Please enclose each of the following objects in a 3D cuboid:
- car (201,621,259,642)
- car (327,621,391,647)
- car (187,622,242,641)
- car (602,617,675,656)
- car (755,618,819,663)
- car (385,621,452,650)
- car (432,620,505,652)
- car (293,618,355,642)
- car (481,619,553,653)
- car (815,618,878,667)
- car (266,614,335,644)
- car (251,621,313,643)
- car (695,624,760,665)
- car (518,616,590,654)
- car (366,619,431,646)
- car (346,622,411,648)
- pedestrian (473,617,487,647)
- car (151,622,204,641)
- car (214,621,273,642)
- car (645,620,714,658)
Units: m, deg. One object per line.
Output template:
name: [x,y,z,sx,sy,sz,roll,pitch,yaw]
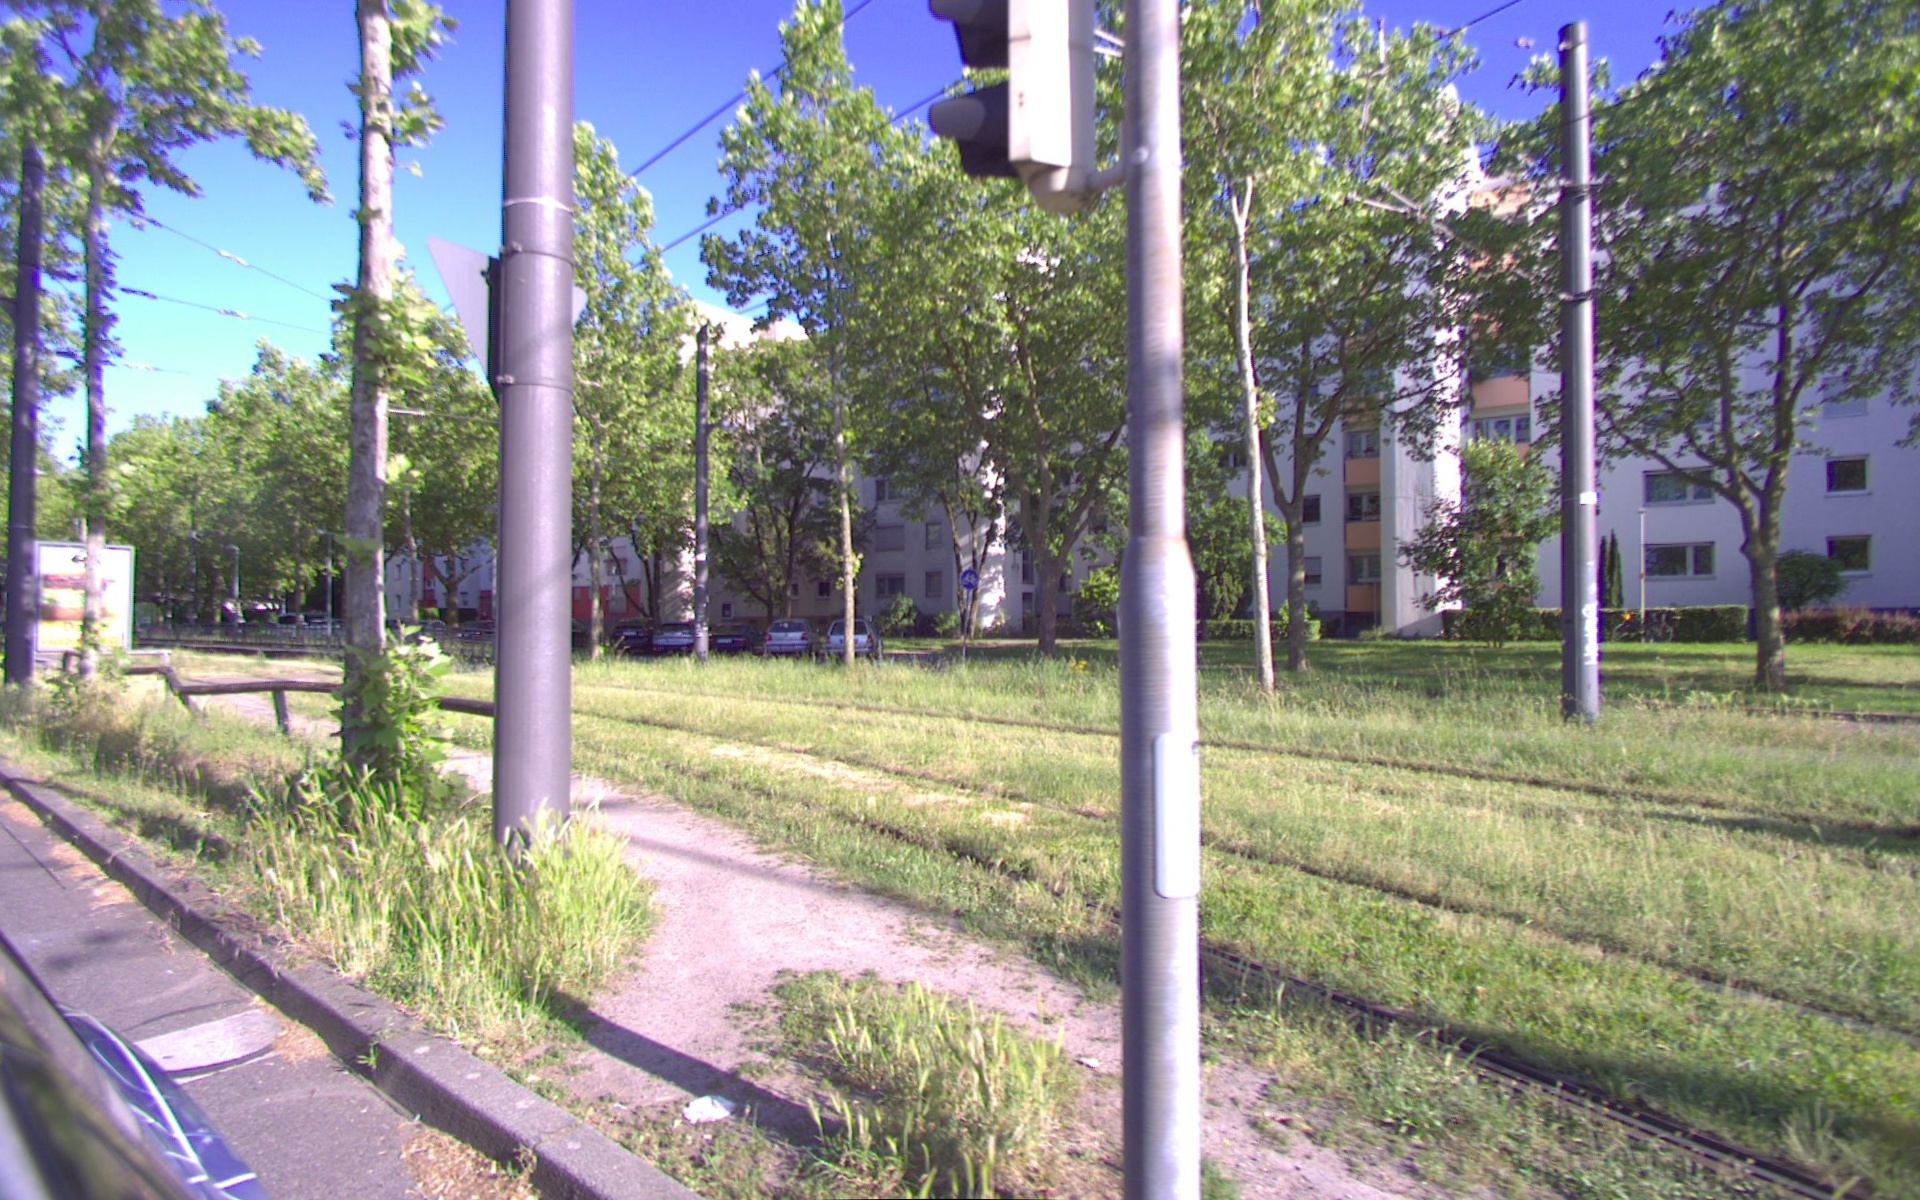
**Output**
car: [-56.979,2.439,79.101,1.769,1.510,4.052,-1,-1,-3]
car: [-37.571,2.110,63.348,1.769,1.510,4.052,-1,-1,-3]
car: [-61.701,2.566,83.858,1.769,1.510,4.052,-1,-1,-3]
car: [-13.457,1.504,42.602,1.770,1.510,4.049,-1,-1,0]
car: [-6.206,1.426,36.743,1.739,1.498,4.051,-1,-1,-2]
car: [-30.293,1.988,56.785,1.769,1.510,4.052,-1,-1,-3]
car: [-25.003,1.784,51.669,1.770,1.510,4.049,-1,-1,0]
car: [-42.440,1.993,67.632,1.769,1.510,4.052,-1,-1,-3]
car: [-21.656,1.738,49.656,1.770,1.510,4.049,-1,-1,0]
car: [-3.746,1.362,33.924,1.788,1.498,4.051,-1,-1,-2]
car: [-44.944,1.947,69.106,1.992,1.934,4.435,-1,-1,-3]
car: [-47.591,2.225,71.141,1.769,1.510,4.052,-1,-1,-3]
car: [-8.728,1.649,38.285,1.653,1.398,4.051,-1,-1,-2]
car: [-18.912,1.604,47.351,1.770,1.676,4.049,-1,-1,0]
car: [-32.979,1.872,59.584,1.769,1.510,4.052,-1,-1,-3]
car: [-35.377,2.096,61.692,1.769,1.510,4.052,-1,-1,-3]
pedestrian: [-33.392,2.211,70.389,0.644,2.029,0.673,-1,-2,36]
car: [-69.688,2.791,90.245,1.769,1.510,4.052,-1,-1,-3]
car: [-54.396,2.371,76.929,1.769,1.510,4.052,-1,-1,-3]
car: [-11.204,1.542,40.638,1.769,1.398,4.051,-1,-1,-2]
